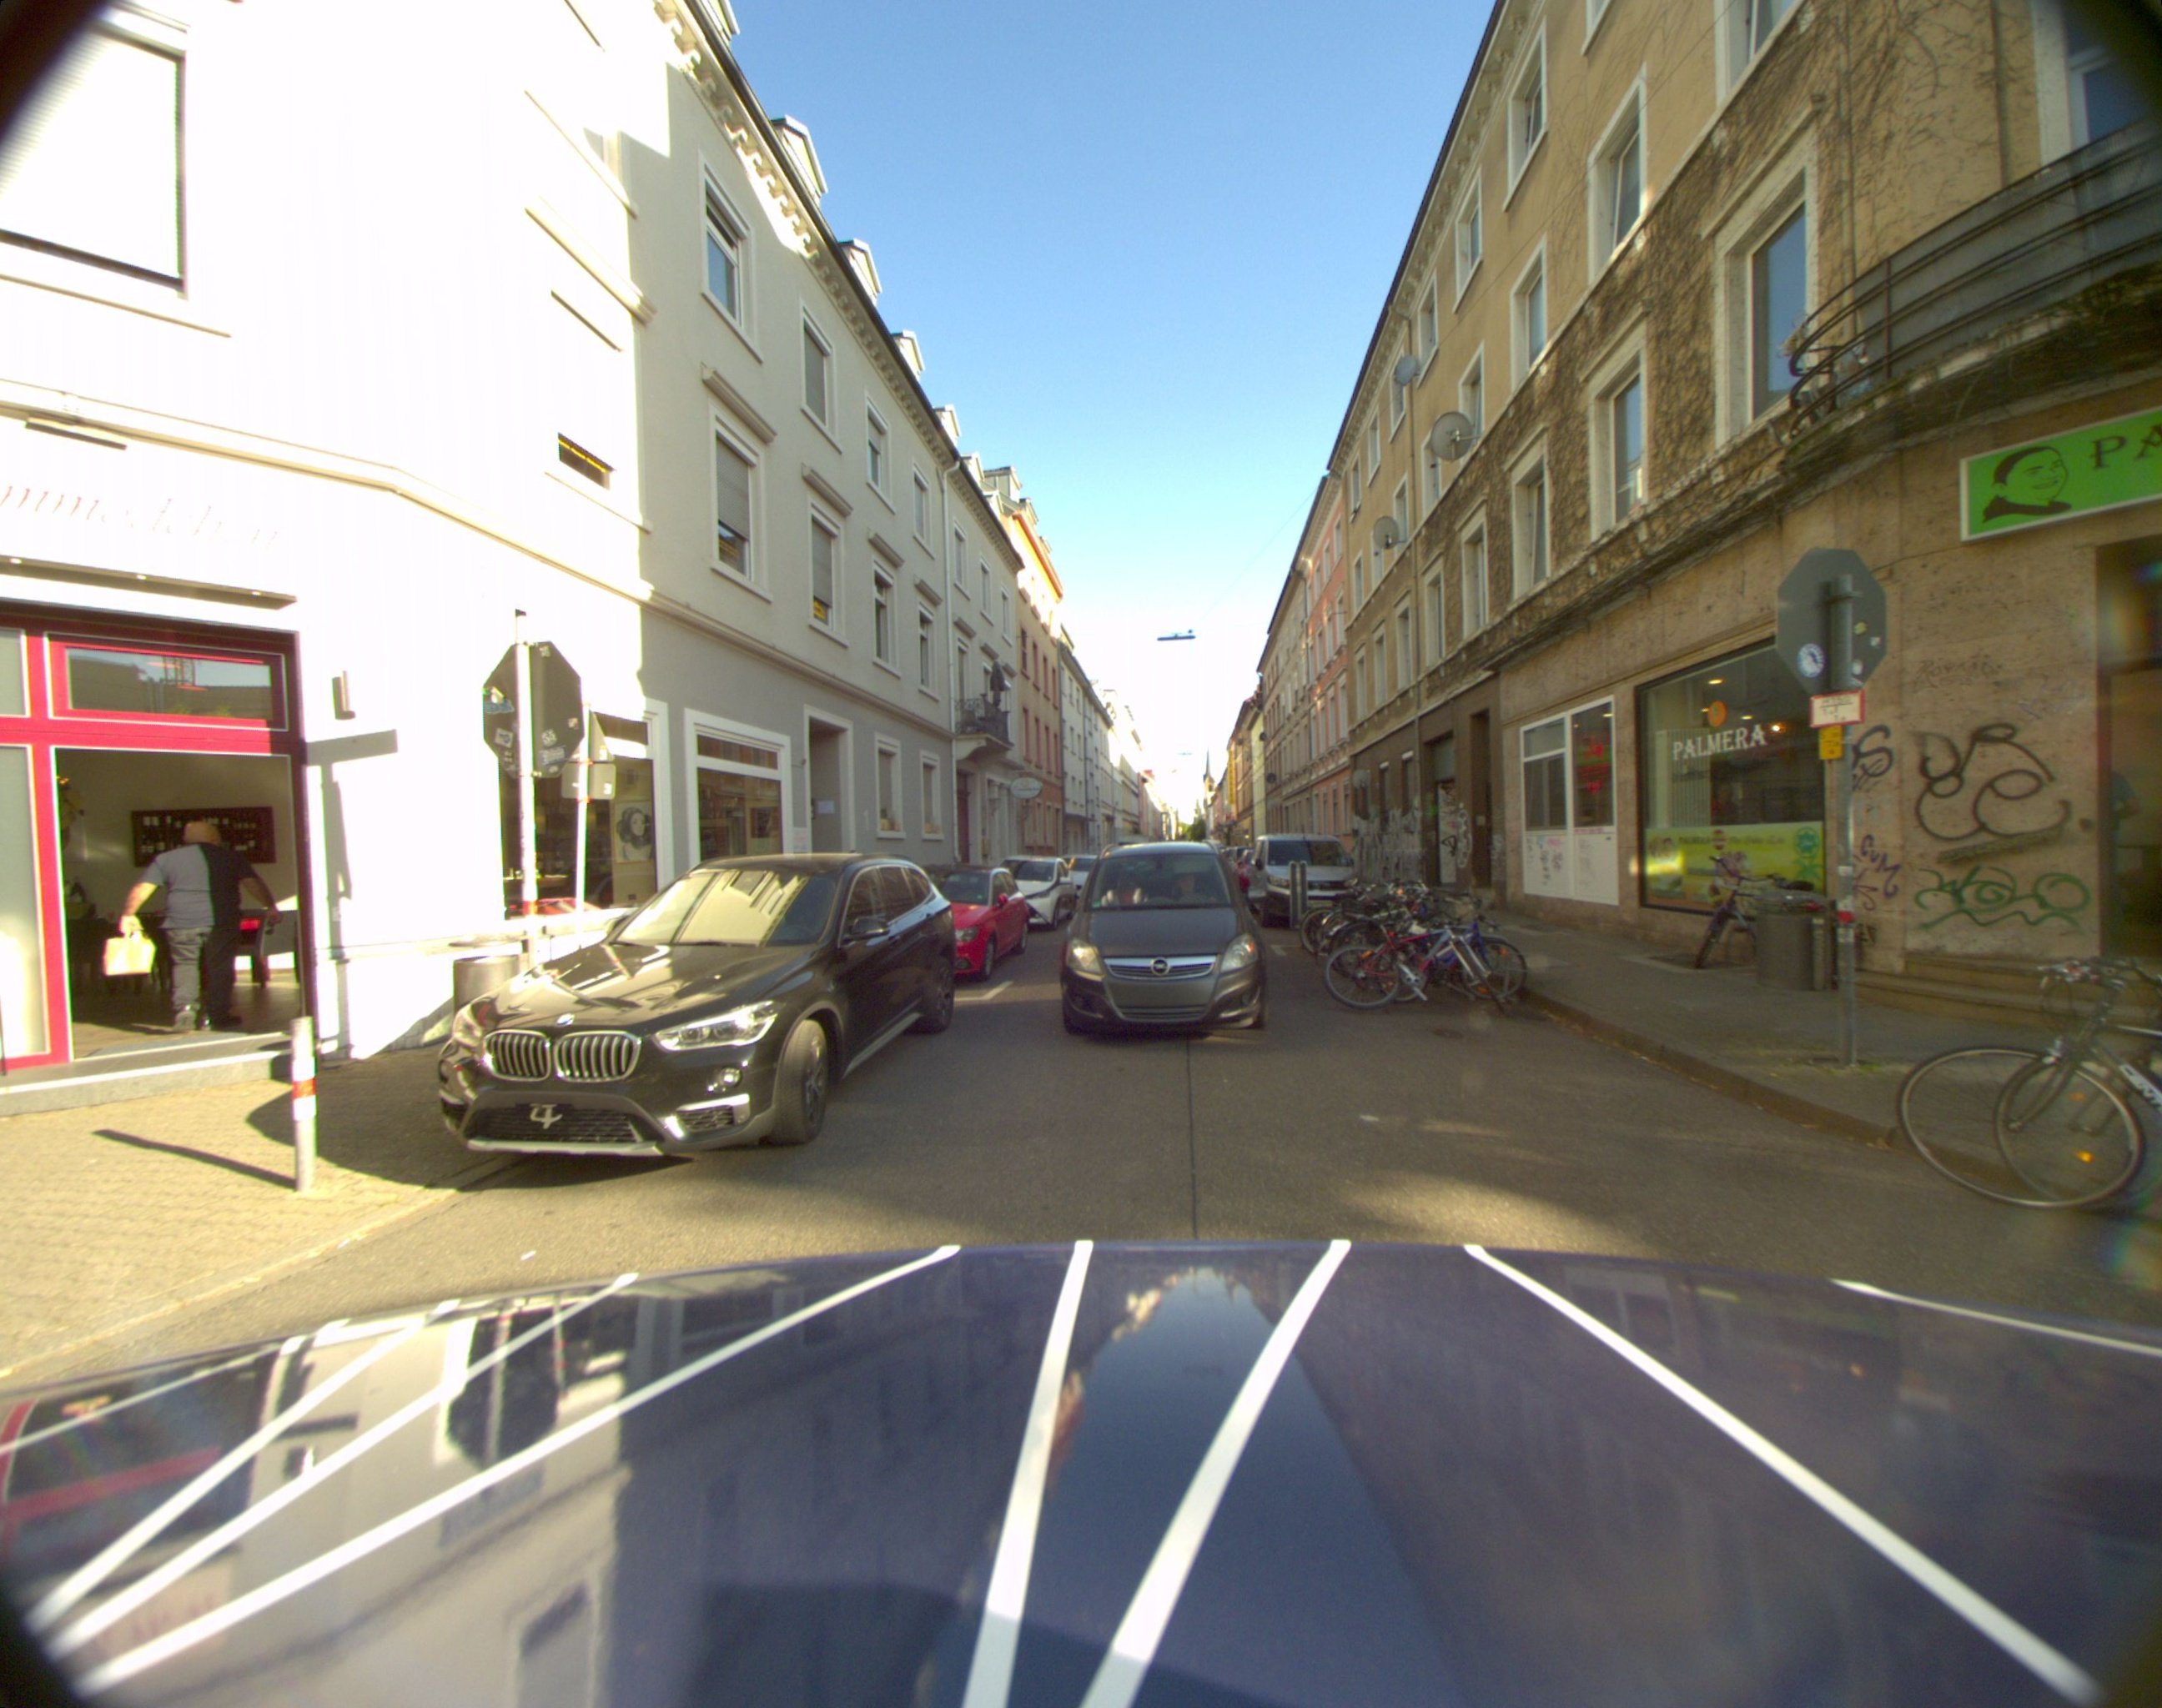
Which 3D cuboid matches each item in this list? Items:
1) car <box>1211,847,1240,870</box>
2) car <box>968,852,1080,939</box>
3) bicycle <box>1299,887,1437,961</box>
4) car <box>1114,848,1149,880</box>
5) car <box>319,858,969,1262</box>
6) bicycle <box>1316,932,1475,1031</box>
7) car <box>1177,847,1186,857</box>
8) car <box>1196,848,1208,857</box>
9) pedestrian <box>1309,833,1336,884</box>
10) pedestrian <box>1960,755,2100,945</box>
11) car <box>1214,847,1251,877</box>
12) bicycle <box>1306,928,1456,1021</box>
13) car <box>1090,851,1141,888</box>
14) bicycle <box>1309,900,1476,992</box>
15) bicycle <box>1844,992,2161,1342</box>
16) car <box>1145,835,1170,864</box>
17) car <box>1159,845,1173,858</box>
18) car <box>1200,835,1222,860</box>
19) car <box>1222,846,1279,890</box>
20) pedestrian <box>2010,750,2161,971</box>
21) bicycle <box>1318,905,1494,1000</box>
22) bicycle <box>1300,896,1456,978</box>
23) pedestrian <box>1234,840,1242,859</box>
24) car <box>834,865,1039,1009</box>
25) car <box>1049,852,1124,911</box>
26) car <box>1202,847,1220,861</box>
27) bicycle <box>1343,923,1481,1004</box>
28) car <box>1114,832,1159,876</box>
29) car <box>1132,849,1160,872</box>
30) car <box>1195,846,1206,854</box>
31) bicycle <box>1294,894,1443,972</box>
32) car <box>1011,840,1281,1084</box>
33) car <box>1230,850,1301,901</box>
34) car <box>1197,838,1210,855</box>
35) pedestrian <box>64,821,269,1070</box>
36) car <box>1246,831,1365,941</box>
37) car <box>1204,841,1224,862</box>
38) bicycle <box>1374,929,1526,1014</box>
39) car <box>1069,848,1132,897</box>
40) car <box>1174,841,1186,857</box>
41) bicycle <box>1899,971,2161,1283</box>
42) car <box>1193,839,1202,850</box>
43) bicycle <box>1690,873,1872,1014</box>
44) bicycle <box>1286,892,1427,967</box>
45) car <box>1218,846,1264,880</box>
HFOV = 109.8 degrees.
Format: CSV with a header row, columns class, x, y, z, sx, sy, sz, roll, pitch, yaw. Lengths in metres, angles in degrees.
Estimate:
class,x,y,z,sx,sy,sz,roll,pitch,yaw
car,9.635,0.270,50.801,1.682,1.454,3.862,-2,1,8
car,-1.105,0.796,16.474,1.640,1.577,3.790,-3,0,7
bicycle,4.085,0.995,10.903,1.768,0.983,0.464,-2,1,7
car,2.784,0.527,41.410,1.683,1.550,3.861,-3,0,5
car,-2.252,0.942,5.406,1.764,1.652,4.199,-3,0,7
bicycle,2.896,1.166,7.037,1.312,0.813,0.371,-2,1,-2
car,21.491,-0.507,162.192,1.682,2.077,4.161,-3,0,8
car,19.075,-0.296,119.964,1.682,1.381,3.862,-2,1,8
pedestrian,8.883,0.168,27.983,0.790,1.820,0.595,-3,1,8
pedestrian,9.189,-0.037,7.390,0.646,1.731,0.696,-1,1,33
car,8.014,0.370,40.433,1.682,1.454,4.315,-2,1,8
bicycle,2.913,1.165,7.420,1.312,0.813,0.355,-2,1,-2
car,1.590,0.634,33.286,1.771,1.386,4.497,-3,0,7
bicycle,3.648,1.064,8.934,1.770,0.956,0.481,-2,1,-4
bicycle,3.858,1.106,2.581,0.459,1.039,1.684,-2,-1,-32
car,7.539,-0.455,74.265,2.049,2.662,6.189,-3,0,8
car,11.364,-0.293,101.340,1.682,1.588,3.862,-3,0,8
car,14.321,-0.694,83.919,2.092,2.576,5.845,-2,1,7
car,6.362,0.485,28.788,1.683,1.540,2.960,-1,1,4
pedestrian,8.659,0.043,6.406,0.749,1.731,0.756,-2,1,-8
bicycle,3.621,1.095,8.526,1.769,0.956,0.428,-2,1,1
bicycle,3.727,1.048,9.619,1.768,0.956,0.443,-2,1,7
pedestrian,15.959,-0.447,77.197,0.626,1.820,0.595,-3,1,9
car,-1.792,1.002,10.754,1.648,1.494,3.956,-3,0,7
car,0.266,0.758,22.931,1.682,1.501,4.192,-3,0,7
car,13.360,-0.024,77.959,1.682,1.381,3.862,-2,1,8
bicycle,3.525,1.164,8.126,1.312,0.813,0.381,0,1,-2
car,3.596,-0.030,48.065,2.048,2.498,6.027,-3,0,10
car,4.575,0.438,53.024,1.682,1.434,3.862,-3,0,8
car,20.410,-0.697,130.078,1.682,1.381,3.862,-2,1,8
bicycle,3.779,1.037,10.062,1.768,0.956,0.422,-2,1,7
car,0.778,0.751,7.915,1.797,1.652,5.187,-3,0,8
car,5.789,0.616,24.258,1.682,1.465,4.205,0,1,7
car,16.932,-1.026,105.084,1.682,2.352,4.100,-2,1,8
pedestrian,-7.192,0.655,6.043,0.866,1.789,0.849,-2,1,-41
car,4.419,0.528,15.617,1.682,1.899,4.521,1,1,8
car,12.748,-0.233,72.709,1.750,1.880,4.774,-2,1,10
bicycle,3.776,1.201,7.810,1.390,0.813,0.361,0,1,-2
car,0.816,0.643,28.843,1.682,1.588,4.193,-3,0,10
car,22.077,-1.143,168.983,2.435,3.404,5.546,-3,0,8
bicycle,4.293,1.071,2.809,0.451,1.039,1.660,-2,0,-32
car,35.814,-2.900,233.027,2.563,3.029,7.065,-3,0,8
bicycle,6.387,0.757,7.035,0.398,1.086,1.592,-2,1,8
bicycle,3.771,1.034,10.485,1.768,0.956,0.405,-2,1,7
car,7.452,0.394,35.674,1.682,1.484,3.613,-2,0,6
